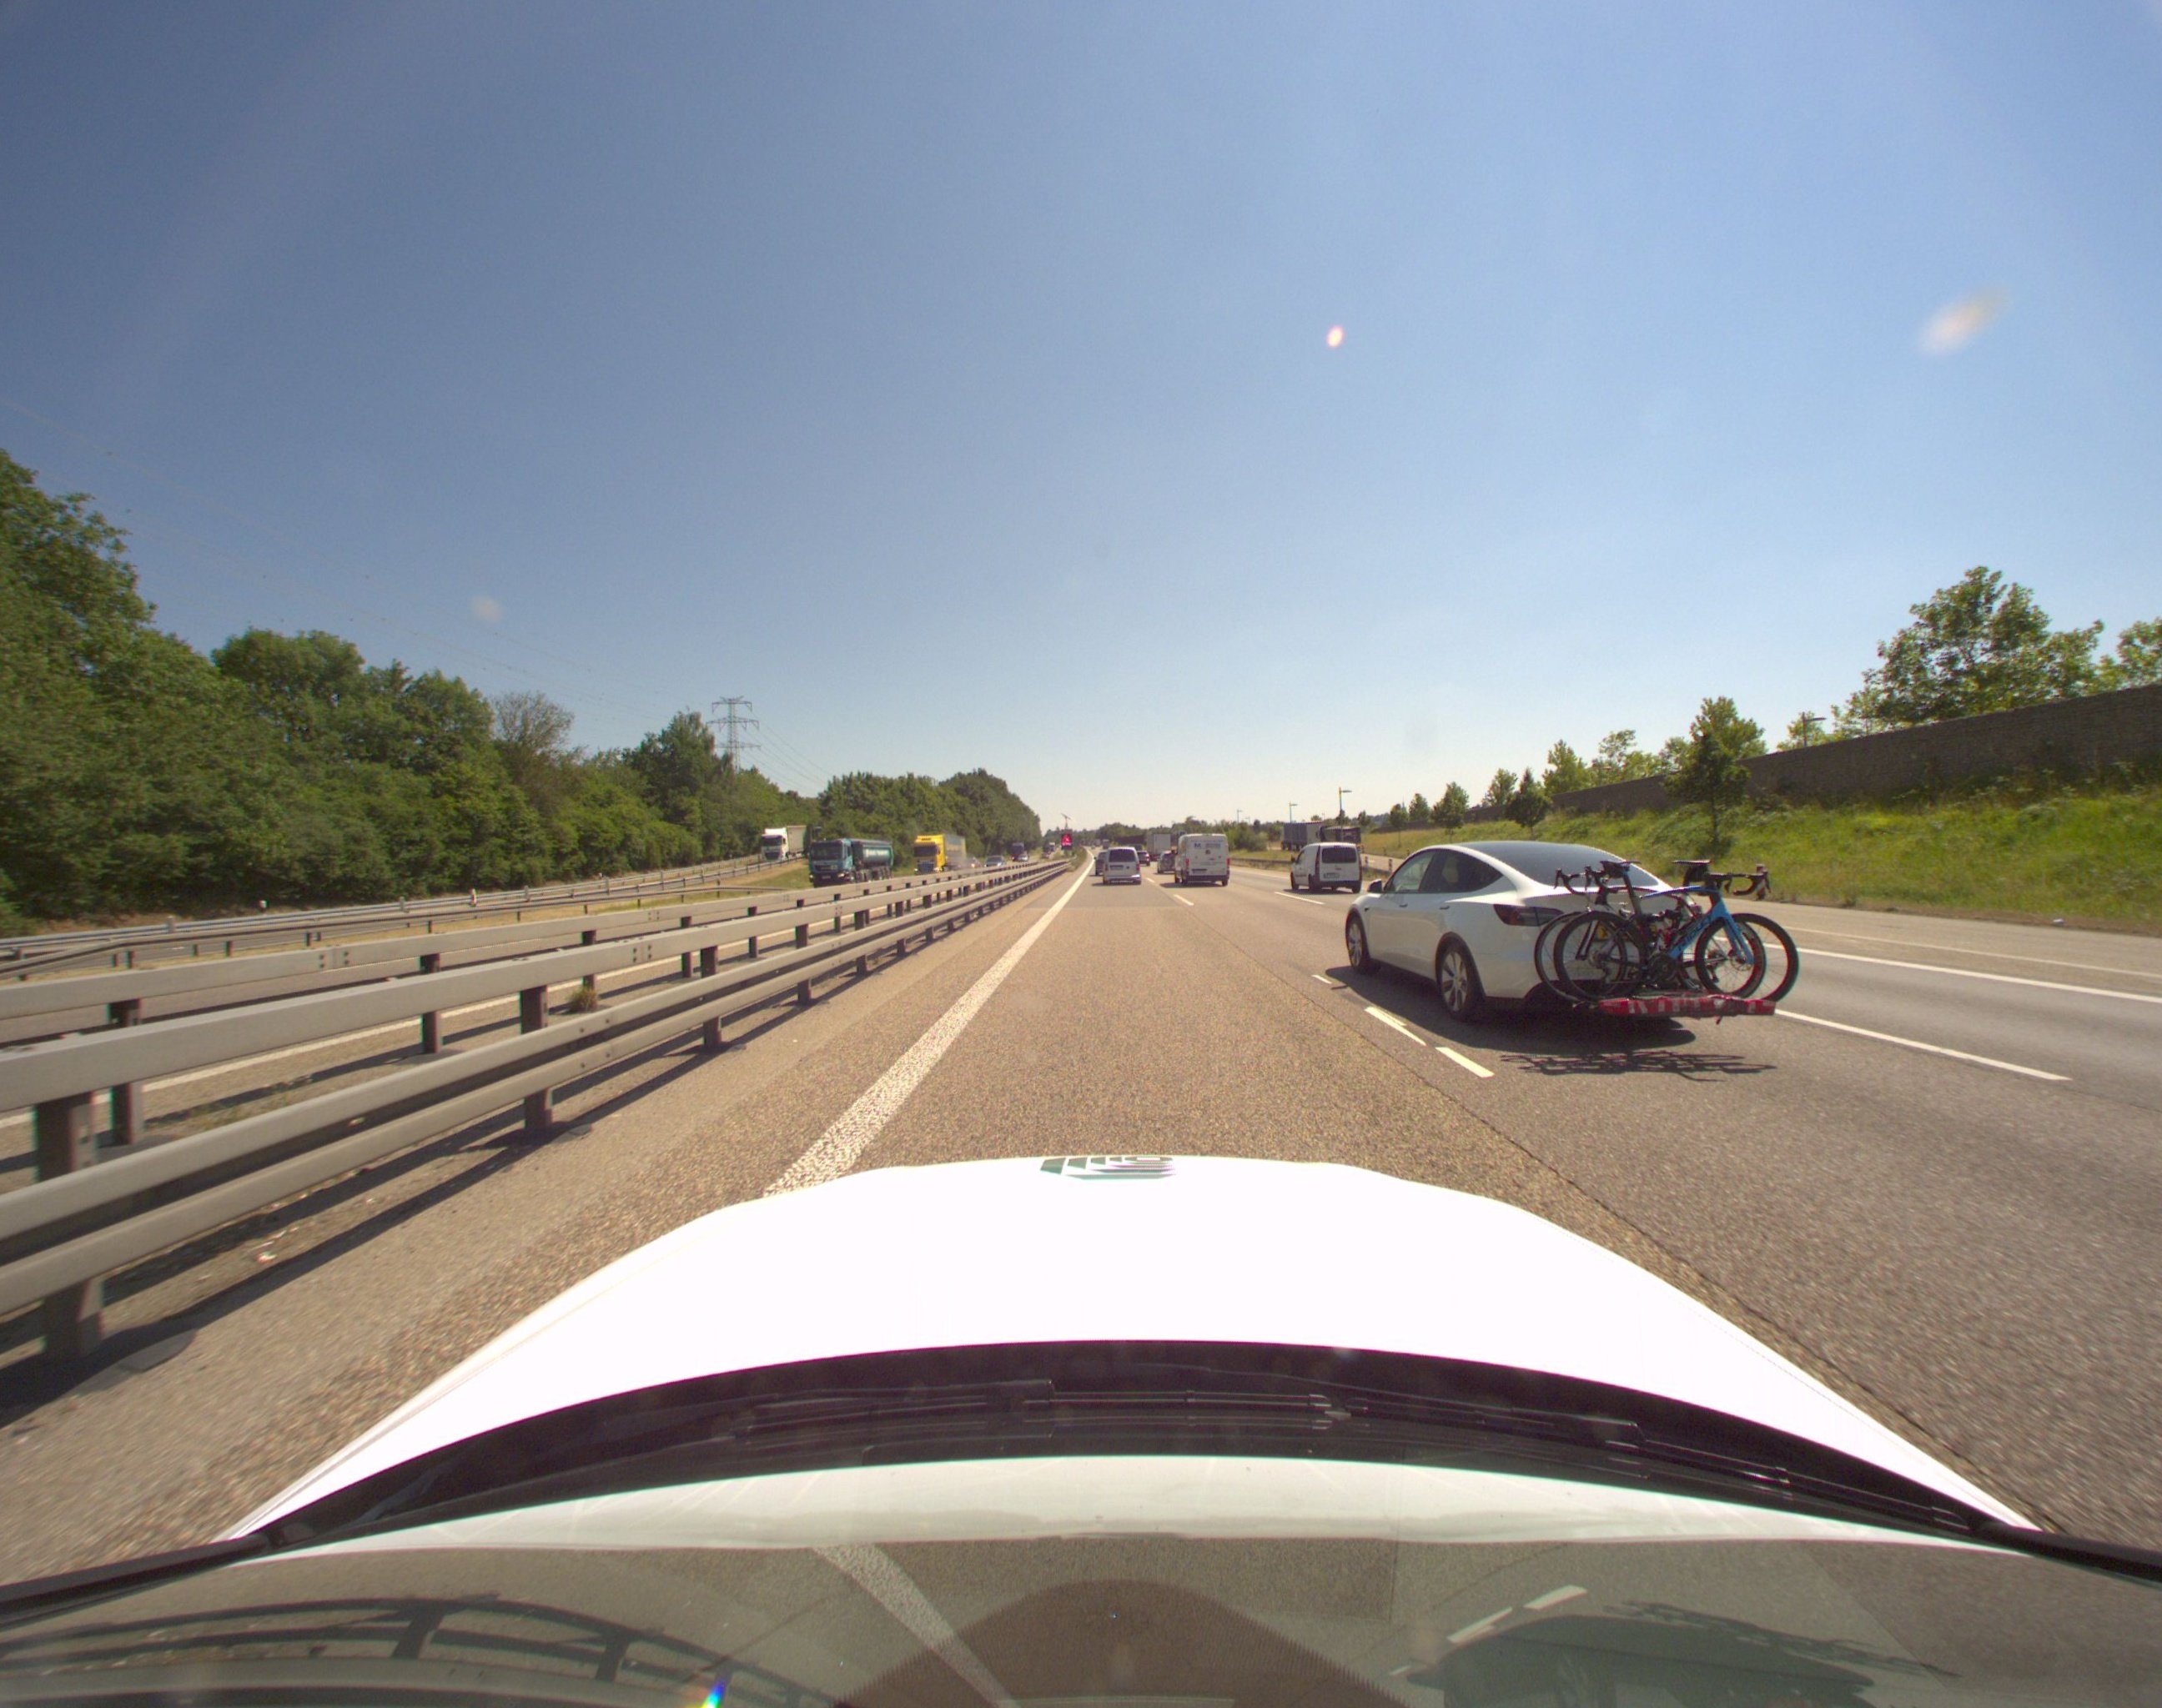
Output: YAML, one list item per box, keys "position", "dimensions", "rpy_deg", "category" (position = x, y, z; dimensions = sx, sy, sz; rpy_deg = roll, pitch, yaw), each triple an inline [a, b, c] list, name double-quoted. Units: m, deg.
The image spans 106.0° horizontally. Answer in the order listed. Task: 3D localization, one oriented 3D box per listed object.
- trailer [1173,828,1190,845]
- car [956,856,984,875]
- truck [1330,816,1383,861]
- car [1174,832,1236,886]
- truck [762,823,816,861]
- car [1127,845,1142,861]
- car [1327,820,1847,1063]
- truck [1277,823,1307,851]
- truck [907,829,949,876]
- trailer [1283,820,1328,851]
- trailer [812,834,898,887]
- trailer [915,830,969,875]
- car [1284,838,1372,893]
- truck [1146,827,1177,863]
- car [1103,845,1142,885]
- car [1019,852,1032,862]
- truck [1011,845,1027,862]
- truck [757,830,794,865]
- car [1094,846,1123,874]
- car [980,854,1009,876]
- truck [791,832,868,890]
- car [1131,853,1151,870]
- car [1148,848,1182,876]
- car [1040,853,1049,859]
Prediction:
- position: [26.351, -4.461, 214.094]
  dimensions: [2.596, 4.257, 18.423]
  rpy_deg: [0, 0, 1]
  category: "trailer"
- position: [-10.444, 1.072, 76.863]
  dimensions: [1.775, 1.530, 4.385]
  rpy_deg: [-4, 0, 1]
  category: "car"
- position: [26.945, -1.385, 80.165]
  dimensions: [3.762, 4.083, 12.563]
  rpy_deg: [0, 0, 13]
  category: "truck"
- position: [5.555, 0.215, 37.178]
  dimensions: [2.173, 2.254, 5.366]
  rpy_deg: [-1, 0, 2]
  category: "car"
- position: [-36.006, -1.658, 101.047]
  dimensions: [2.993, 4.340, 14.515]
  rpy_deg: [-2, 2, -7]
  category: "truck"
- position: [6.651, -0.090, 101.108]
  dimensions: [1.668, 1.891, 4.091]
  rpy_deg: [-2, 0, 2]
  category: "car"
- position: [4.259, 0.585, 8.302]
  dimensions: [1.943, 1.636, 5.602]
  rpy_deg: [0, 0, 1]
  category: "car"
- position: [31.400, -2.437, 121.338]
  dimensions: [3.040, 4.083, 6.402]
  rpy_deg: [0, 0, 3]
  category: "truck"
- position: [-14.594, -0.149, 78.055]
  dimensions: [3.164, 4.341, 3.512]
  rpy_deg: [-2, 0, 0]
  category: "truck"
- position: [31.038, -2.433, 113.272]
  dimensions: [3.040, 4.083, 14.268]
  rpy_deg: [0, 0, 3]
  category: "trailer"
- position: [-15.470, 0.401, 56.657]
  dimensions: [2.903, 3.300, 9.714]
  rpy_deg: [-2, 0, 2]
  category: "trailer"
- position: [-14.572, -0.190, 86.737]
  dimensions: [3.164, 4.341, 13.811]
  rpy_deg: [-2, 0, 0]
  category: "trailer"
- position: [8.998, 0.389, 30.035]
  dimensions: [1.944, 1.837, 4.178]
  rpy_deg: [-2, 0, 0]
  category: "car"
- position: [11.616, -1.230, 118.930]
  dimensions: [3.773, 4.999, 12.525]
  rpy_deg: [0, 0, 2]
  category: "truck"
- position: [1.978, 0.496, 39.125]
  dimensions: [1.738, 1.764, 4.091]
  rpy_deg: [-2, 0, 2]
  category: "car"
- position: [-9.274, 0.434, 136.809]
  dimensions: [1.775, 1.530, 3.884]
  rpy_deg: [-4, 0, 1]
  category: "car"
- position: [-12.926, -0.149, 171.047]
  dimensions: [2.986, 3.558, 3.118]
  rpy_deg: [-2, 0, 1]
  category: "truck"
- position: [-35.177, -0.798, 93.863]
  dimensions: [2.941, 3.895, 4.315]
  rpy_deg: [-2, 2, -7]
  category: "truck"
- position: [1.850, 0.390, 53.471]
  dimensions: [1.738, 1.701, 4.091]
  rpy_deg: [-2, 0, 3]
  category: "car"
- position: [-7.095, 0.874, 66.909]
  dimensions: [1.775, 1.624, 4.002]
  rpy_deg: [-2, 0, 2]
  category: "car"
- position: [-15.618, 0.410, 51.012]
  dimensions: [2.903, 3.300, 5.333]
  rpy_deg: [-2, 0, 1]
  category: "truck"
- position: [6.109, 0.756, 83.481]
  dimensions: [1.894, 1.672, 4.091]
  rpy_deg: [-2, 0, 2]
  category: "car"
- position: [5.627, 0.518, 55.207]
  dimensions: [1.968, 1.733, 4.091]
  rpy_deg: [-2, 0, 2]
  category: "car"
- position: [-8.336, 0.397, 187.385]
  dimensions: [1.763, 1.334, 4.923]
  rpy_deg: [-3, 0, 2]
  category: "car"
